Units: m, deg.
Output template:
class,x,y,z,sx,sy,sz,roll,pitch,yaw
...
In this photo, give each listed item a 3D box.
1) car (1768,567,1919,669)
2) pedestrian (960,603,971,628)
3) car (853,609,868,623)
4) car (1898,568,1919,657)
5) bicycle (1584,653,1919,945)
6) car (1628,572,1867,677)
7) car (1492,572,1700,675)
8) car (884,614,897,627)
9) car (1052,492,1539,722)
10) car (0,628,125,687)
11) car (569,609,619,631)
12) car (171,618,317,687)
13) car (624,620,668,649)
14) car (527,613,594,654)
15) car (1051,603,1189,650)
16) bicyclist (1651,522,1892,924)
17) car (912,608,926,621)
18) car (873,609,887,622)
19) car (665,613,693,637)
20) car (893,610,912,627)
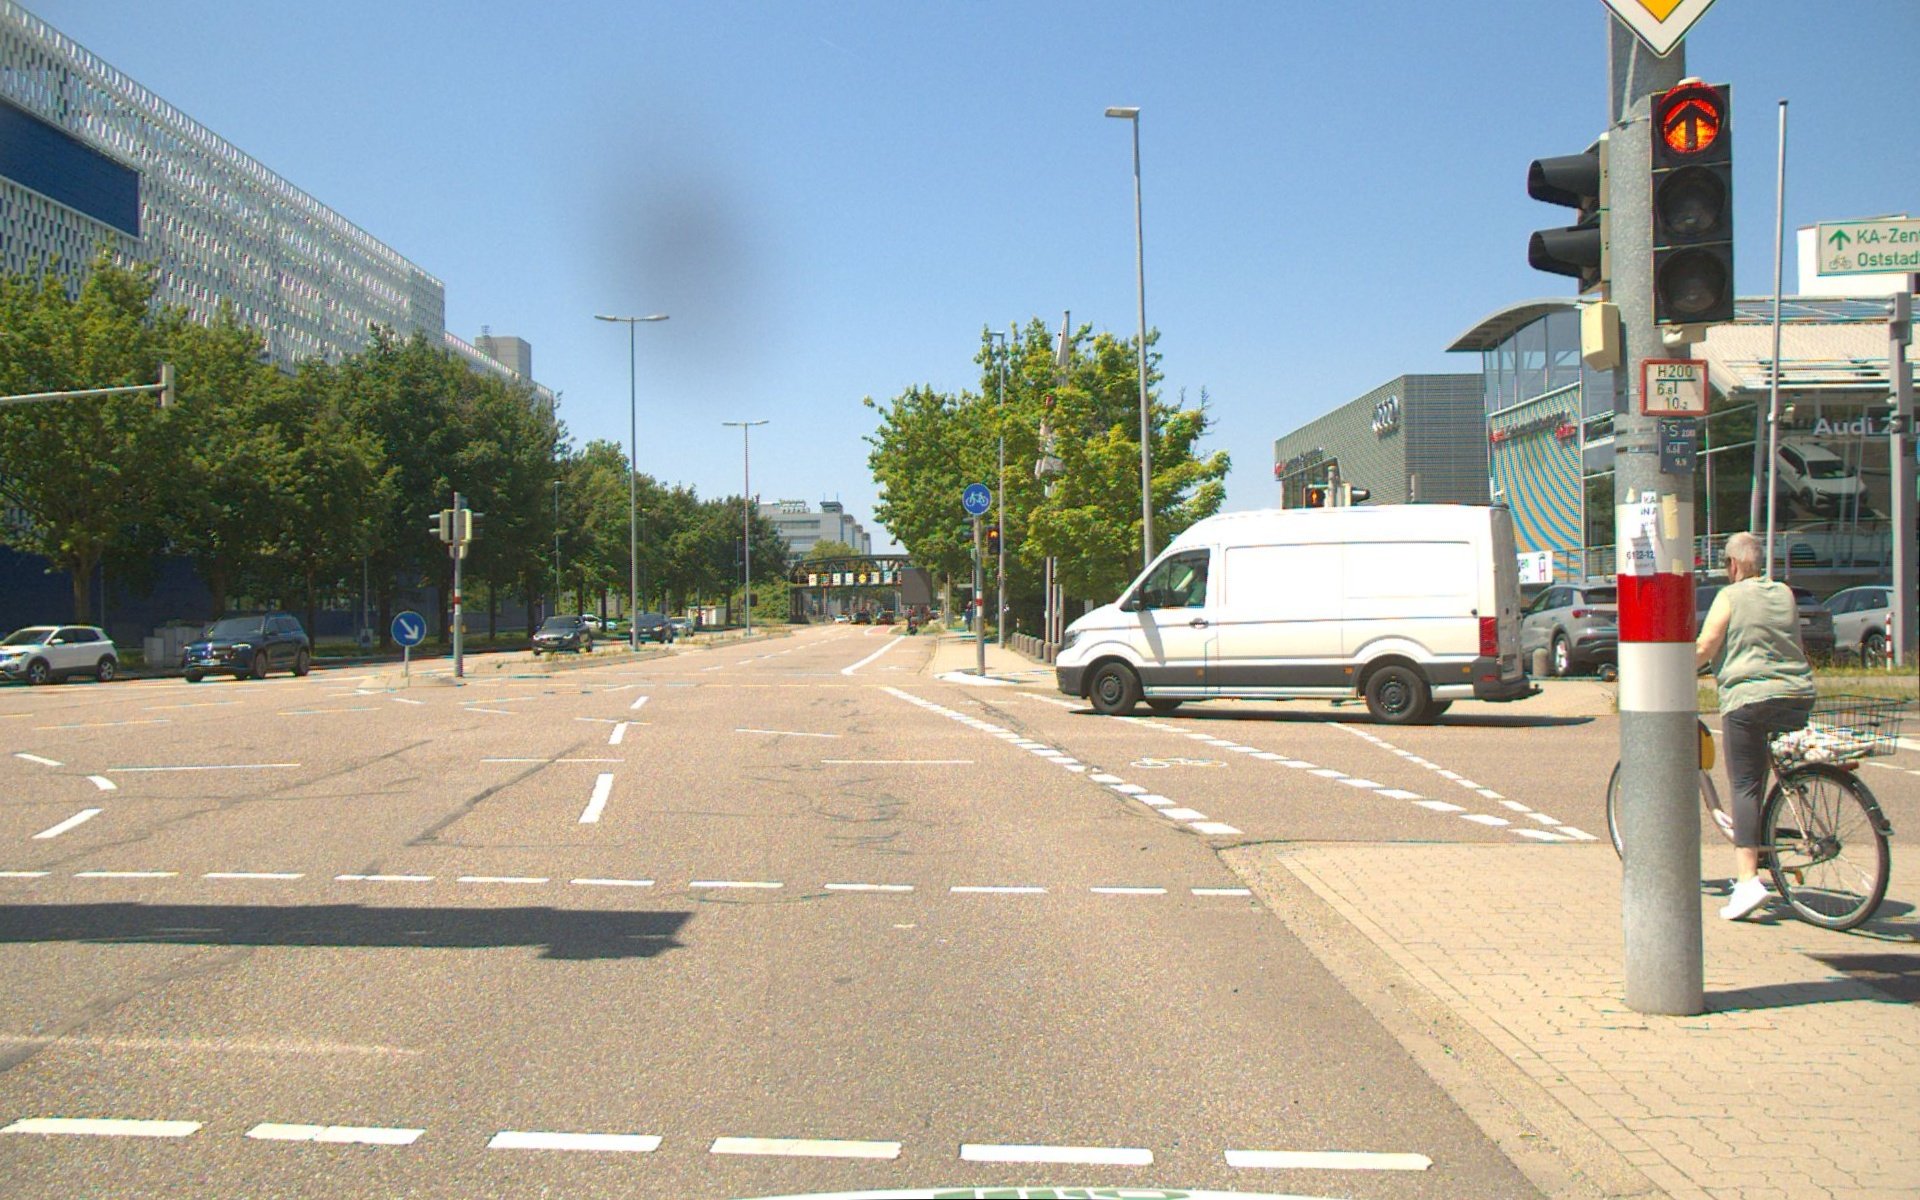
class,x,y,z,sx,sy,sz,roll,pitch,yaw
car,16.474,0.258,29.409,1.953,1.668,4.440,-1,0,-1
pedestrian,0.333,0.932,99.783,0.654,1.537,0.736,-1,0,-1
car,-13.539,2.170,225.489,1.736,1.758,3.999,-1,-1,-1
car,18.841,0.228,29.273,1.847,1.668,4.524,-1,0,-1
bicycle,3.788,0.865,7.912,0.771,1.147,1.919,0,0,-4
car,13.681,0.379,29.073,1.953,1.668,4.557,-1,0,-1
car,11.071,0.368,29.145,1.953,1.668,4.267,-1,0,-1
car,-9.823,2.916,234.800,1.736,1.758,3.999,-1,-1,-1
car,4.172,0.094,20.817,5.670,2.578,2.100,0,-1,27
car,-24.678,1.523,44.821,1.587,1.483,4.074,-1,-1,8
car,-32.921,1.817,148.743,3.930,1.842,2.001,1,0,6
car,-18.358,1.303,42.643,1.837,1.626,4.495,-1,-1,-1
car,-16.319,1.772,86.083,1.650,1.436,3.664,-1,-1,-1
car,-15.549,1.285,64.546,1.697,1.452,3.705,-3,-1,-1
car,5.656,0.930,58.867,4.646,1.482,1.999,-2,0,-3
bicyclist,3.775,0.546,7.744,0.719,1.779,0.753,0,0,-5
car,-5.437,1.921,221.027,1.736,1.758,3.999,-1,-1,-1
car,-10.647,2.045,220.131,1.736,1.758,3.999,-1,-1,-1
car,-20.579,1.798,121.163,1.617,1.682,4.159,-1,0,-5
car,-3.651,1.177,105.439,1.114,1.060,2.308,-1,0,-1
